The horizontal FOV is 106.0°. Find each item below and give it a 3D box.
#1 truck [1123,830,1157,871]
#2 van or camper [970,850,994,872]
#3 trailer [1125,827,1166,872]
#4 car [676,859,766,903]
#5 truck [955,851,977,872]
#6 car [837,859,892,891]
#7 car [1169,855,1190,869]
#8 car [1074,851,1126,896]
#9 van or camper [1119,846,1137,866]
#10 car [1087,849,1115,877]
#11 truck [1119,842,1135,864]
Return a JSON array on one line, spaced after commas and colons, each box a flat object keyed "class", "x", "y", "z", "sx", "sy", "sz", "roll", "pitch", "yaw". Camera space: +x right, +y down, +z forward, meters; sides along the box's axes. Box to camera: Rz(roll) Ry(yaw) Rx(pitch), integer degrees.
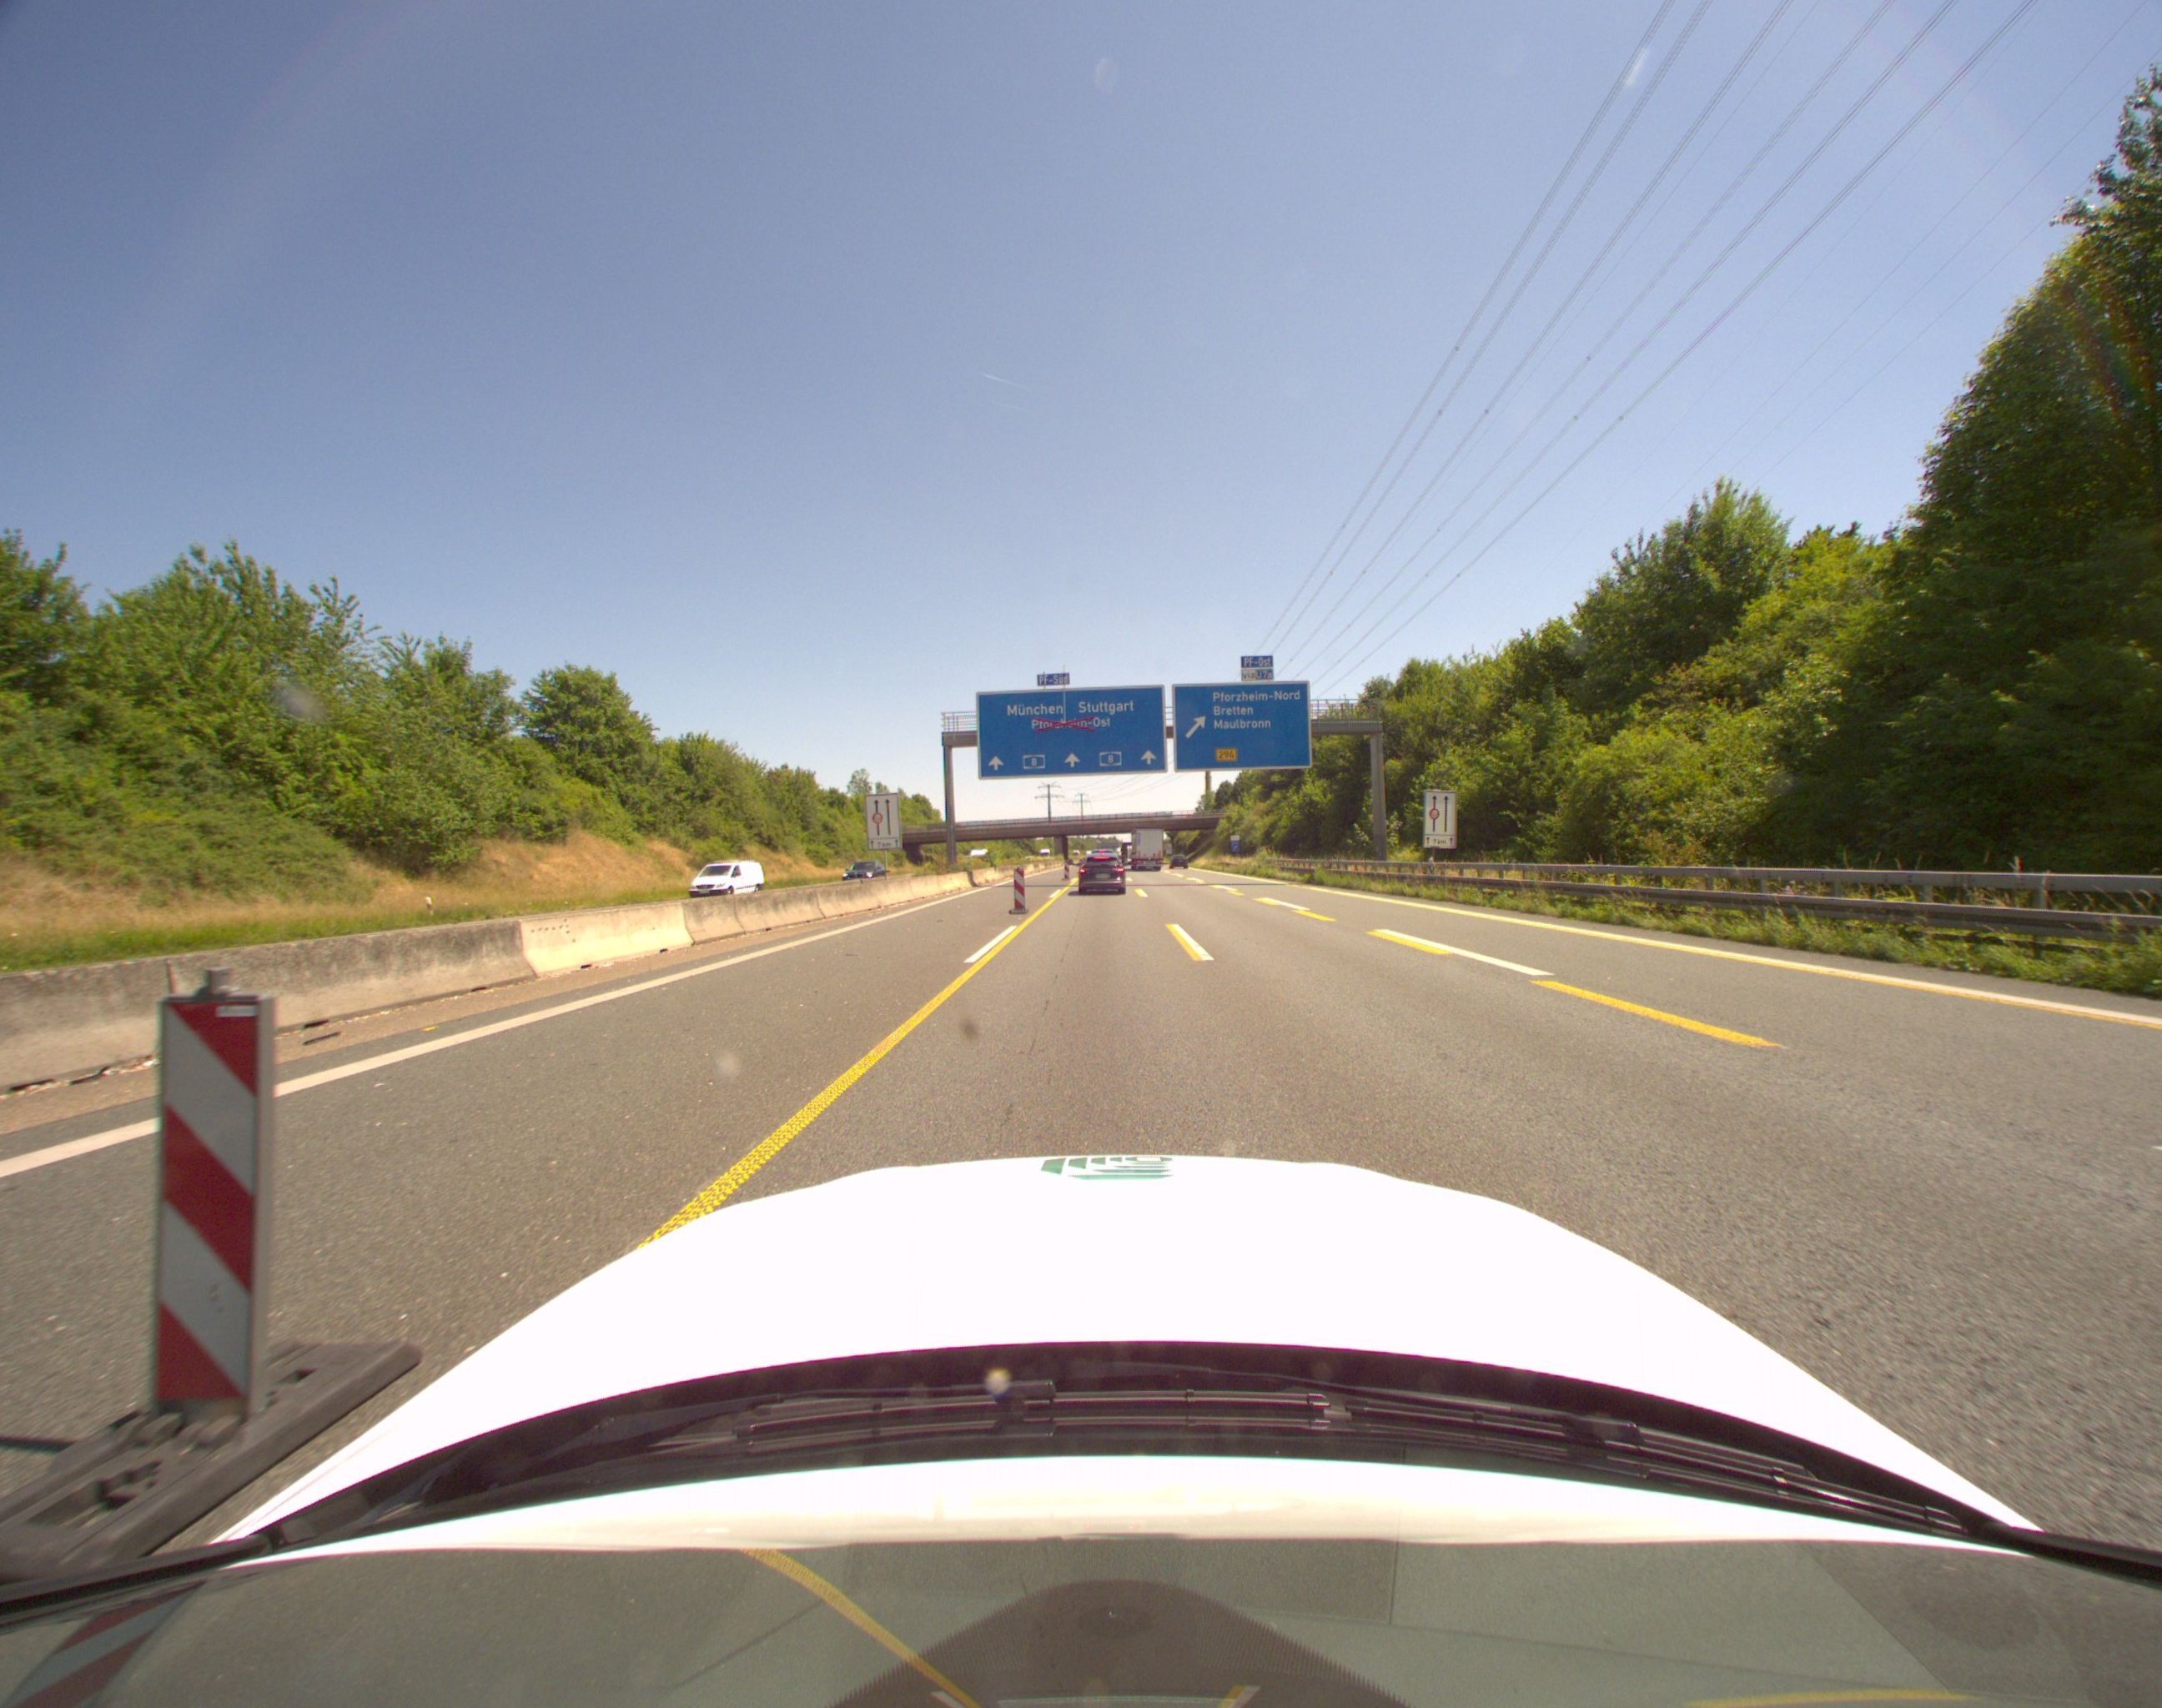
[{"class": "truck", "x": 6.197, "y": -0.385, "z": 86.028, "sx": 3.015, "sy": 4.087, "sz": 7.795, "roll": -1, "pitch": 0, "yaw": 0}, {"class": "van or camper", "x": -15.265, "y": 1.015, "z": 125.831, "sx": 2.426, "sy": 3.147, "sz": 7.629, "roll": -2, "pitch": 0, "yaw": 1}, {"class": "trailer", "x": 6.148, "y": -0.435, "z": 79.219, "sx": 3.055, "sy": 4.042, "sz": 11.486, "roll": -1, "pitch": 0, "yaw": 0}, {"class": "car", "x": -18.164, "y": 1.292, "z": 41.439, "sx": 1.923, "sy": 2.013, "sz": 5.598, "roll": -2, "pitch": 0, "yaw": 1}, {"class": "truck", "x": -19.063, "y": 1.206, "z": 135.441, "sx": 2.486, "sy": 3.259, "sz": 6.366, "roll": -2, "pitch": 0, "yaw": 1}, {"class": "car", "x": -12.666, "y": 1.181, "z": 47.906, "sx": 1.865, "sy": 1.694, "sz": 4.500, "roll": -2, "pitch": 0, "yaw": 2}, {"class": "car", "x": 10.503, "y": 0.849, "z": 86.937, "sx": 1.772, "sy": 1.489, "sz": 4.465, "roll": 0, "pitch": 0, "yaw": 1}, {"class": "car", "x": 0.749, "y": 0.728, "z": 32.711, "sx": 1.889, "sy": 1.592, "sz": 4.443, "roll": -2, "pitch": 0, "yaw": 0}, {"class": "van or camper", "x": 7.043, "y": 0.259, "z": 123.184, "sx": 2.576, "sy": 2.968, "sz": 6.089, "roll": 0, "pitch": 0, "yaw": 3}, {"class": "car", "x": 1.428, "y": 0.583, "z": 58.073, "sx": 1.889, "sy": 1.841, "sz": 4.443, "roll": 1, "pitch": 1, "yaw": 1}, {"class": "truck", "x": 8.996, "y": -0.252, "z": 159.844, "sx": 3.065, "sy": 4.146, "sz": 13.063, "roll": 0, "pitch": 0, "yaw": 3}]
